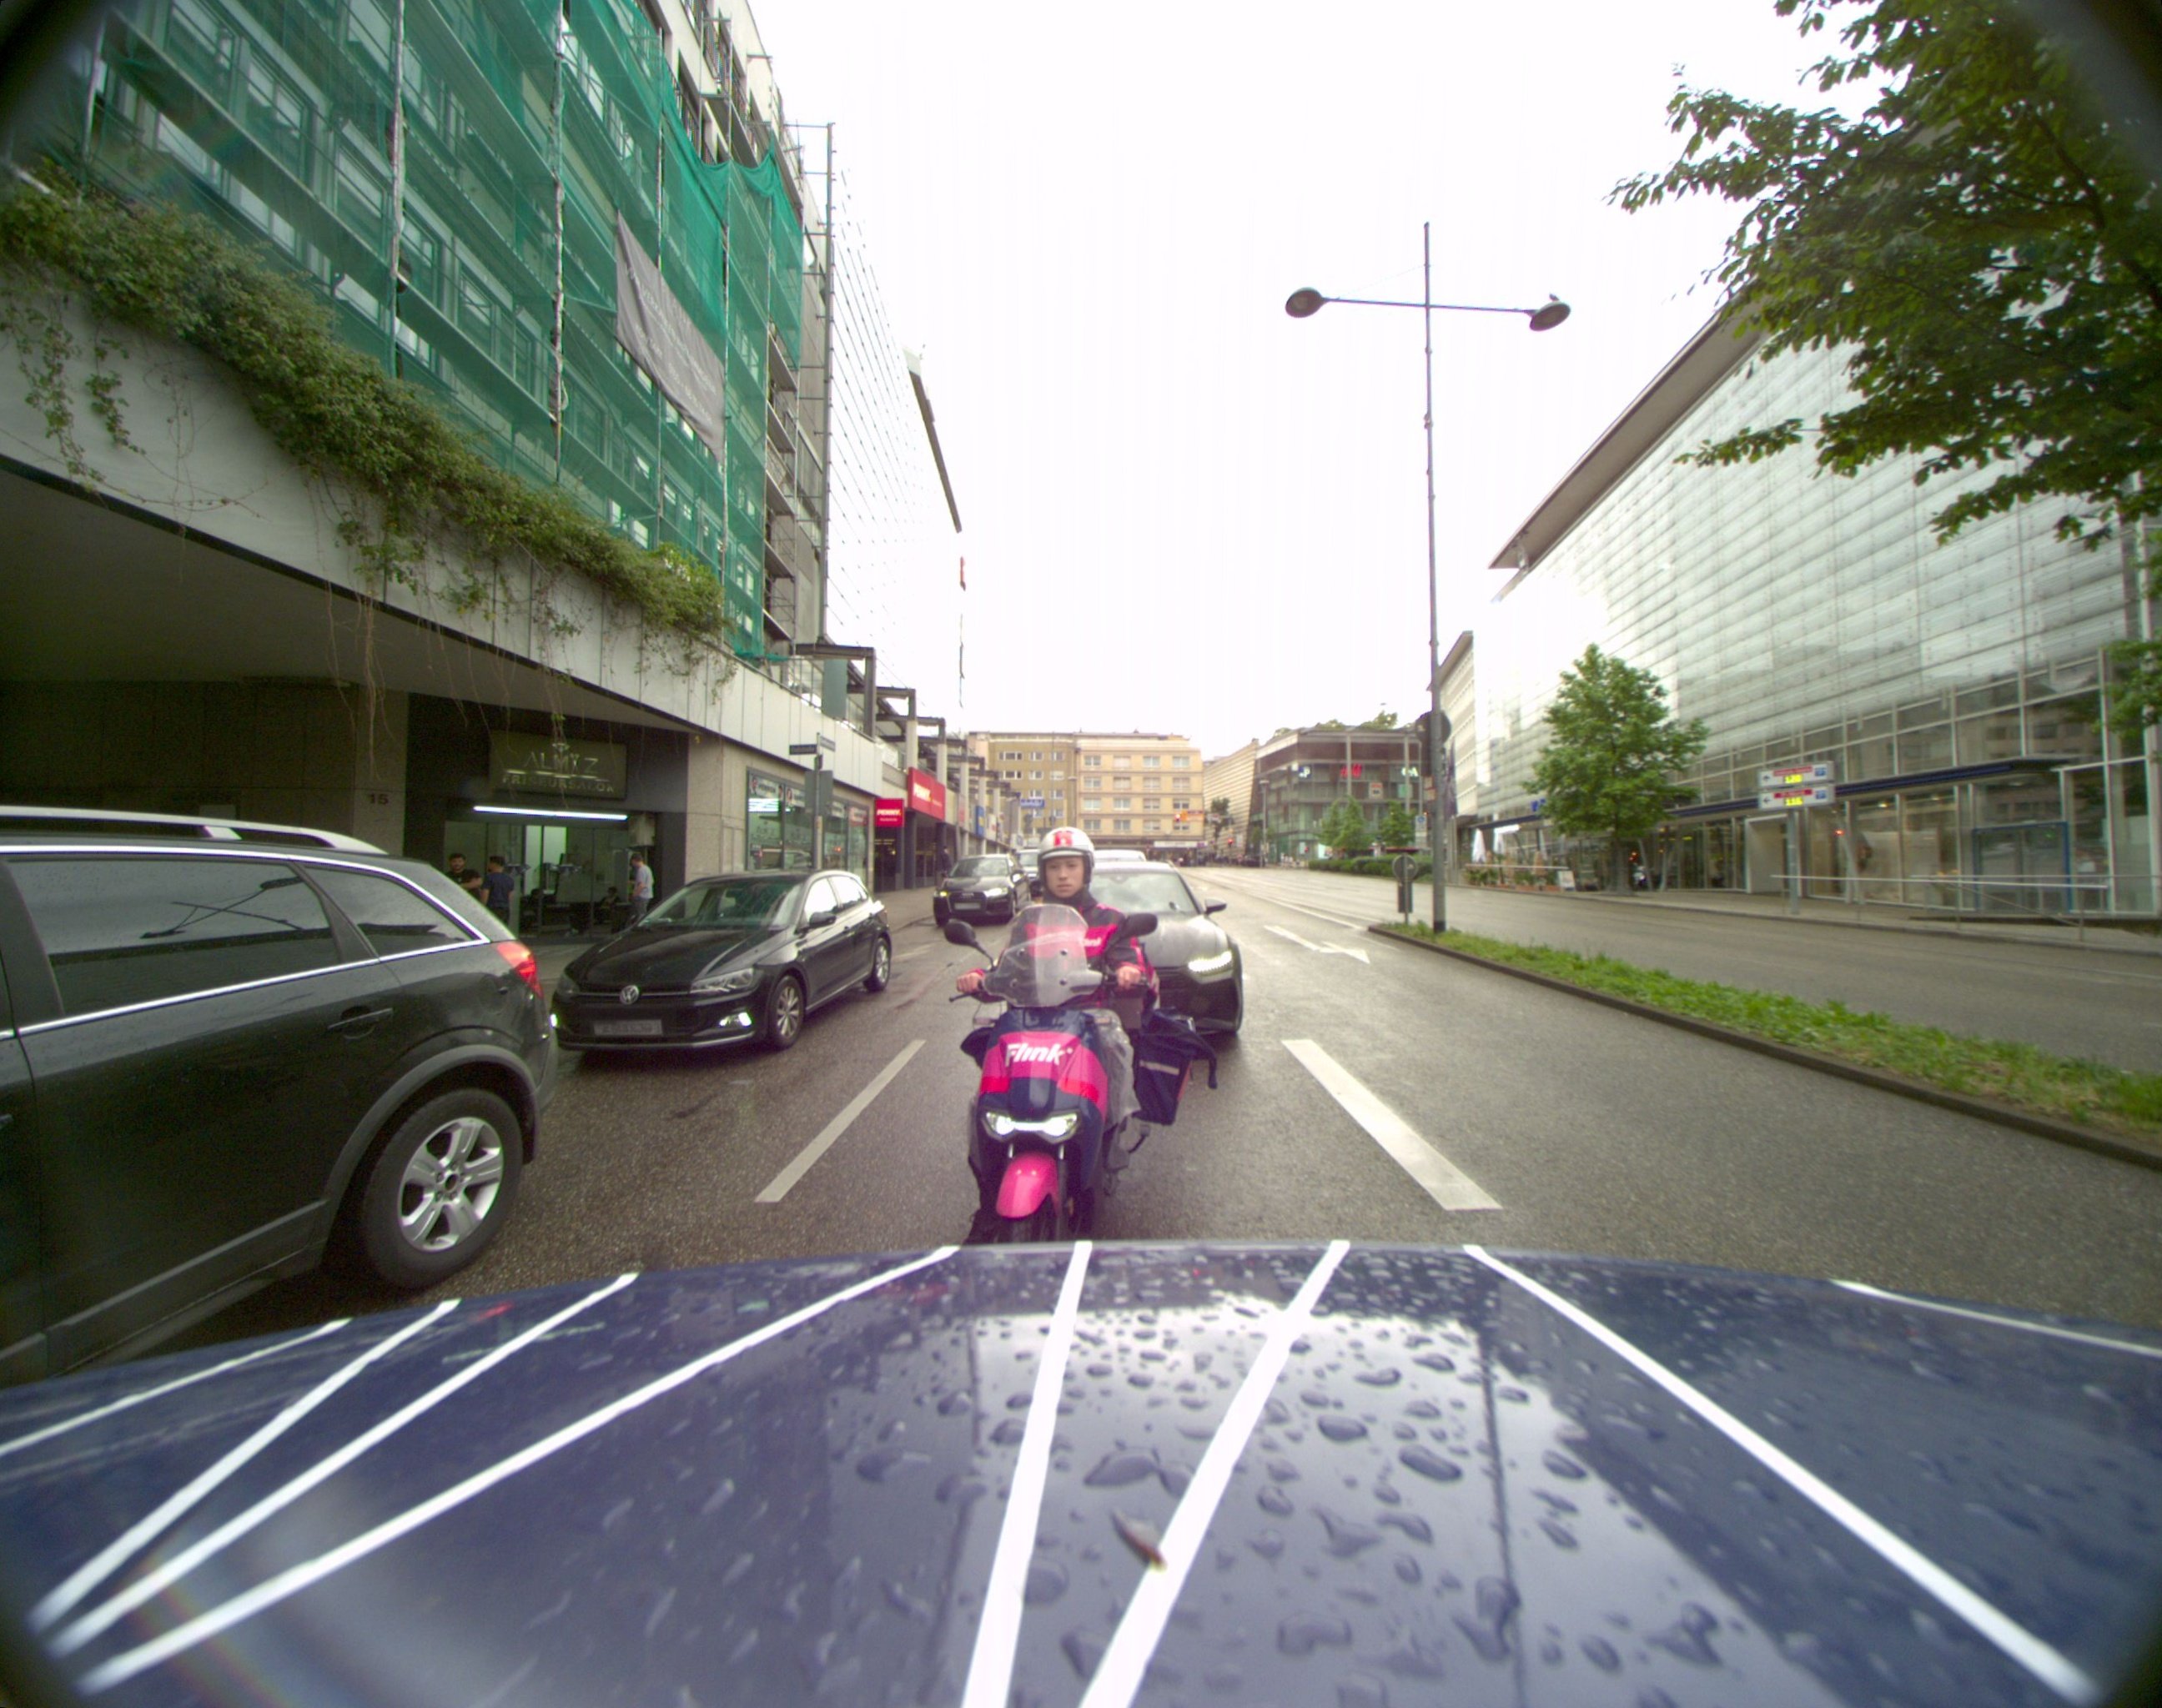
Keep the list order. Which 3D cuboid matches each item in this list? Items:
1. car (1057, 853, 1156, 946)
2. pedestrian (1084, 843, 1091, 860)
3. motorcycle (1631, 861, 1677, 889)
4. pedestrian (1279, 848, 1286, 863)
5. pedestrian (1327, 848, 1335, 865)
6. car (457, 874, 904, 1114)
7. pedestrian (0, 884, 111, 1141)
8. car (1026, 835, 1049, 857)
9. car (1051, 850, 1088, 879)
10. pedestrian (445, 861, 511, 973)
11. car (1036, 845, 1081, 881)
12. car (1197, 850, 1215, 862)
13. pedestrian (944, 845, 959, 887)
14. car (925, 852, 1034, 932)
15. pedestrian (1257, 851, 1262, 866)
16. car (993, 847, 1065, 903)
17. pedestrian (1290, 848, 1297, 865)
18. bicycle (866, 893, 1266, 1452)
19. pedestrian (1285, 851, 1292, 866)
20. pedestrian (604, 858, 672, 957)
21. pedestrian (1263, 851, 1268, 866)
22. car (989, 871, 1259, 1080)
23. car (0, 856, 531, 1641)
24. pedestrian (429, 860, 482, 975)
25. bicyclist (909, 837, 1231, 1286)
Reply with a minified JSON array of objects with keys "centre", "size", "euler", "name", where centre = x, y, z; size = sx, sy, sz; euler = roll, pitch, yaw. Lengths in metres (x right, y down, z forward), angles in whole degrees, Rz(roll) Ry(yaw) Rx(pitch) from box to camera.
[{"centre":[0.528,0.782,15.217],"size":[1.675,1.520,4.164],"euler":[-2,1,2],"name":"car"},{"centre":[0.627,-0.260,74.678],"size":[0.634,1.620,0.602],"euler":[0,1,-1],"name":"pedestrian"},{"centre":[28.024,1.026,37.171],"size":[1.707,1.319,0.620],"euler":[0,1,1],"name":"motorcycle"},{"centre":[21.912,0.175,82.676],"size":[0.633,1.620,0.602],"euler":[0,1,2],"name":"pedestrian"},{"centre":[27.522,0.283,83.619],"size":[0.626,1.764,0.689],"euler":[-2,2,5],"name":"pedestrian"},{"centre":[-3.190,1.009,7.180],"size":[1.758,1.495,4.165],"euler":[-2,-1,4],"name":"car"},{"centre":[-8.102,1.151,5.657],"size":[0.743,1.805,0.773],"euler":[0,1,1],"name":"pedestrian"},{"centre":[-4.180,-0.794,73.028],"size":[1.605,2.002,3.400],"euler":[-2,1,7],"name":"car"},{"centre":[-0.659,0.640,46.892],"size":[1.988,1.696,4.165],"euler":[-2,0,2],"name":"car"},{"centre":[-8.967,0.912,11.325],"size":[0.640,1.586,0.576],"euler":[-3,2,-32],"name":"pedestrian"},{"centre":[-1.104,0.453,39.768],"size":[1.988,1.696,4.165],"euler":[-2,0,2],"name":"car"},{"centre":[22.299,0.293,135.605],"size":[2.000,2.002,4.584],"euler":[0,1,-7],"name":"car"},{"centre":[-5.150,0.476,30.165],"size":[0.510,1.669,0.579],"euler":[0,2,0],"name":"pedestrian"},{"centre":[-2.286,0.812,18.216],"size":[1.841,1.598,4.164],"euler":[-2,1,2],"name":"car"},{"centre":[20.360,0.521,86.751],"size":[0.428,1.620,0.602],"euler":[1,1,3],"name":"pedestrian"},{"centre":[-1.688,0.677,26.150],"size":[1.988,1.696,4.165],"euler":[-2,0,2],"name":"car"},{"centre":[23.831,0.276,85.121],"size":[0.626,1.764,0.689],"euler":[-2,2,7],"name":"pedestrian"},{"centre":[-0.020,0.942,3.520],"size":[1.034,1.279,2.948],"euler":[-2,1,1],"name":"bicycle"},{"centre":[22.145,0.501,81.064],"size":[0.633,1.620,0.602],"euler":[1,1,4],"name":"pedestrian"},{"centre":[-7.686,0.908,13.183],"size":[0.732,1.633,0.640],"euler":[-1,2,25],"name":"pedestrian"},{"centre":[20.507,0.476,84.339],"size":[0.428,1.620,0.602],"euler":[1,1,5],"name":"pedestrian"},{"centre":[0.396,0.928,7.541],"size":[1.890,1.391,4.165],"euler":[-2,-1,2],"name":"car"},{"centre":[-3.331,0.906,1.237],"size":[1.764,1.755,4.164],"euler":[-2,0,0],"name":"car"},{"centre":[-9.611,0.957,11.679],"size":[0.466,1.698,0.484],"euler":[0,2,42],"name":"pedestrian"},{"centre":[-0.029,0.718,3.044],"size":[1.063,1.534,0.825],"euler":[-2,2,0],"name":"bicyclist"}]
